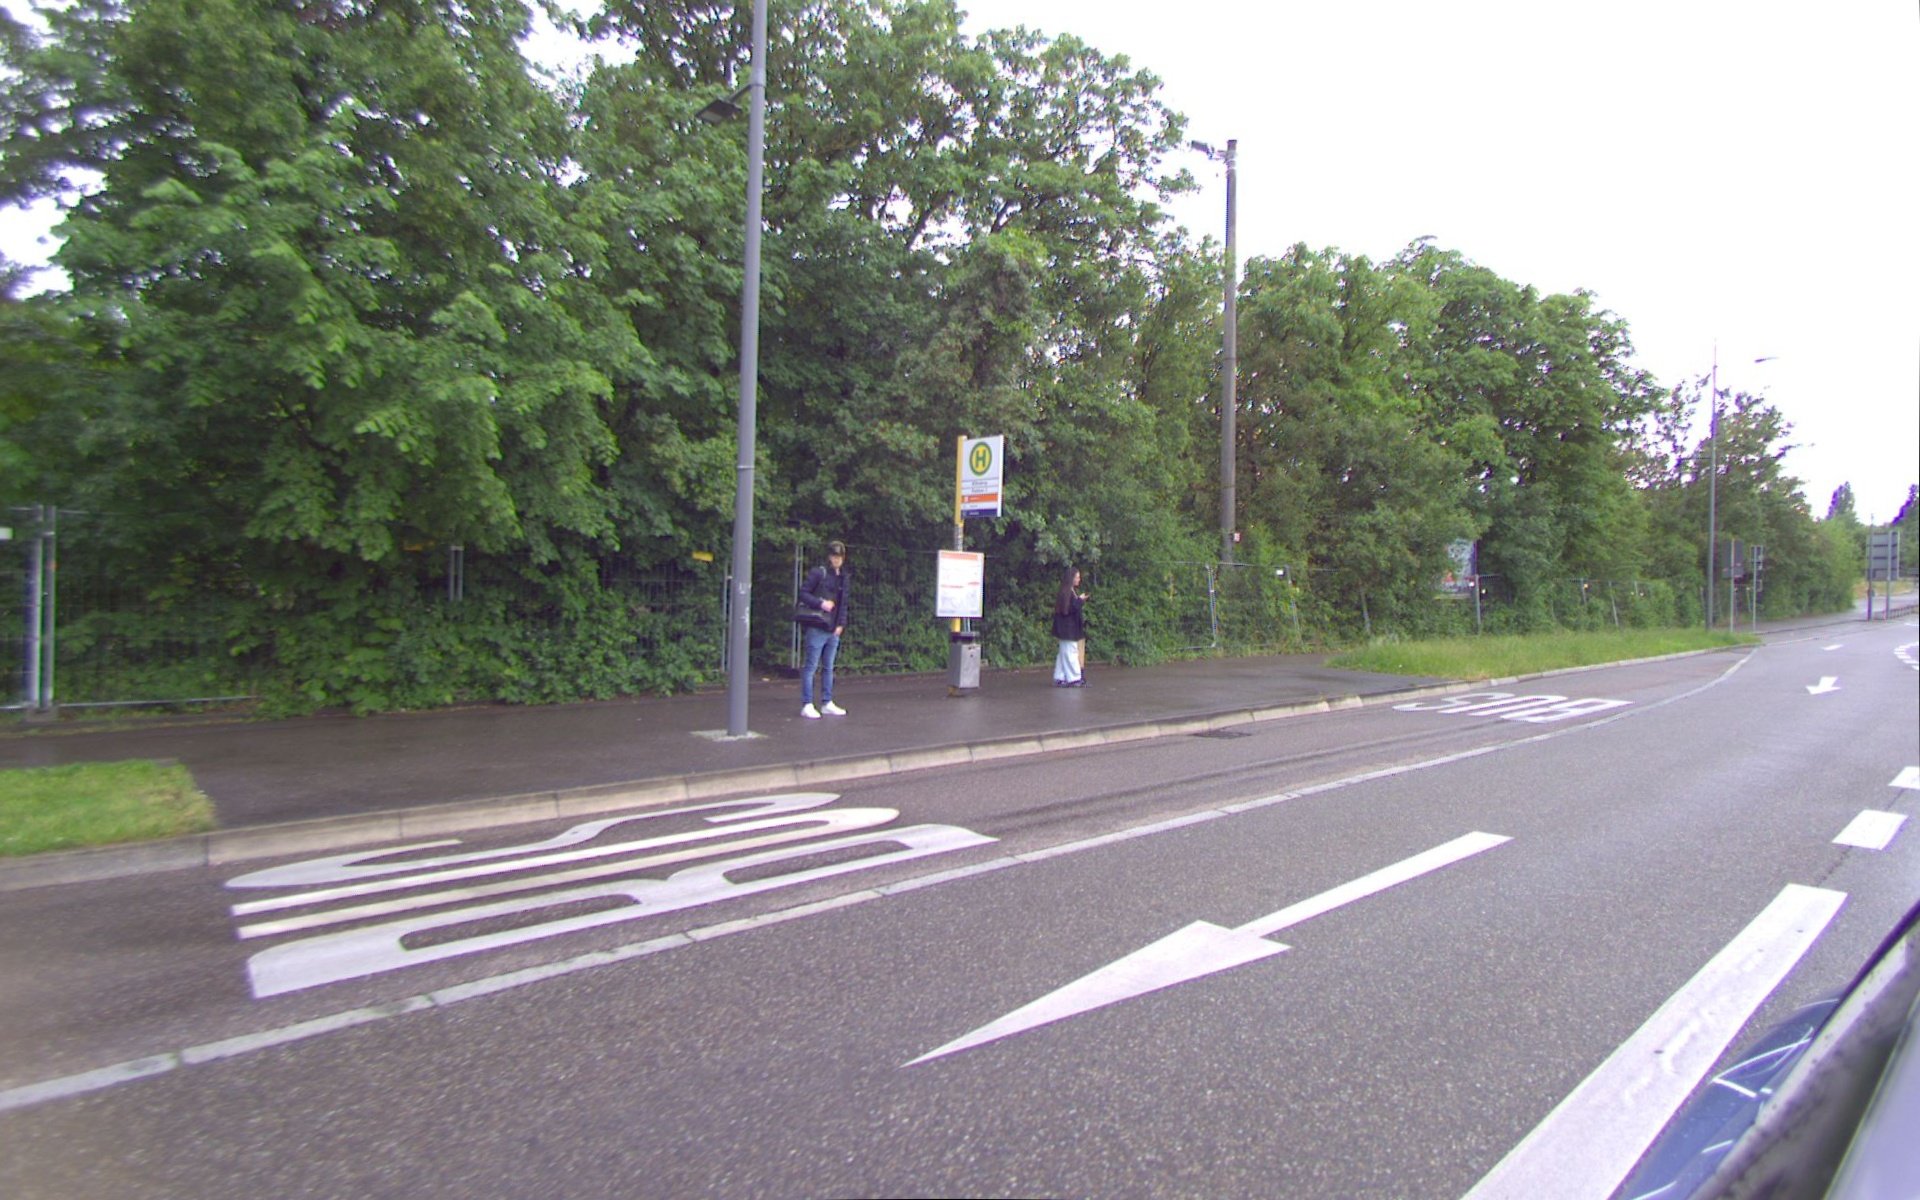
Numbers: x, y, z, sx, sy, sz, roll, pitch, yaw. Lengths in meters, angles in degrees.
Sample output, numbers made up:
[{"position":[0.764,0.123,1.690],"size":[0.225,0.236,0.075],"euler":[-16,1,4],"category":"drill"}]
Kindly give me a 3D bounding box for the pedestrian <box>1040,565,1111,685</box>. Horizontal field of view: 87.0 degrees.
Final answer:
[{"position":[1.680,0.345,14.731],"size":[0.675,1.678,0.780],"euler":[2,1,43],"category":"pedestrian"}]

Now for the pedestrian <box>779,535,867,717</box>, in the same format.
[{"position":[-1.511,0.261,11.187],"size":[0.640,1.924,0.707],"euler":[2,1,43],"category":"pedestrian"}]
